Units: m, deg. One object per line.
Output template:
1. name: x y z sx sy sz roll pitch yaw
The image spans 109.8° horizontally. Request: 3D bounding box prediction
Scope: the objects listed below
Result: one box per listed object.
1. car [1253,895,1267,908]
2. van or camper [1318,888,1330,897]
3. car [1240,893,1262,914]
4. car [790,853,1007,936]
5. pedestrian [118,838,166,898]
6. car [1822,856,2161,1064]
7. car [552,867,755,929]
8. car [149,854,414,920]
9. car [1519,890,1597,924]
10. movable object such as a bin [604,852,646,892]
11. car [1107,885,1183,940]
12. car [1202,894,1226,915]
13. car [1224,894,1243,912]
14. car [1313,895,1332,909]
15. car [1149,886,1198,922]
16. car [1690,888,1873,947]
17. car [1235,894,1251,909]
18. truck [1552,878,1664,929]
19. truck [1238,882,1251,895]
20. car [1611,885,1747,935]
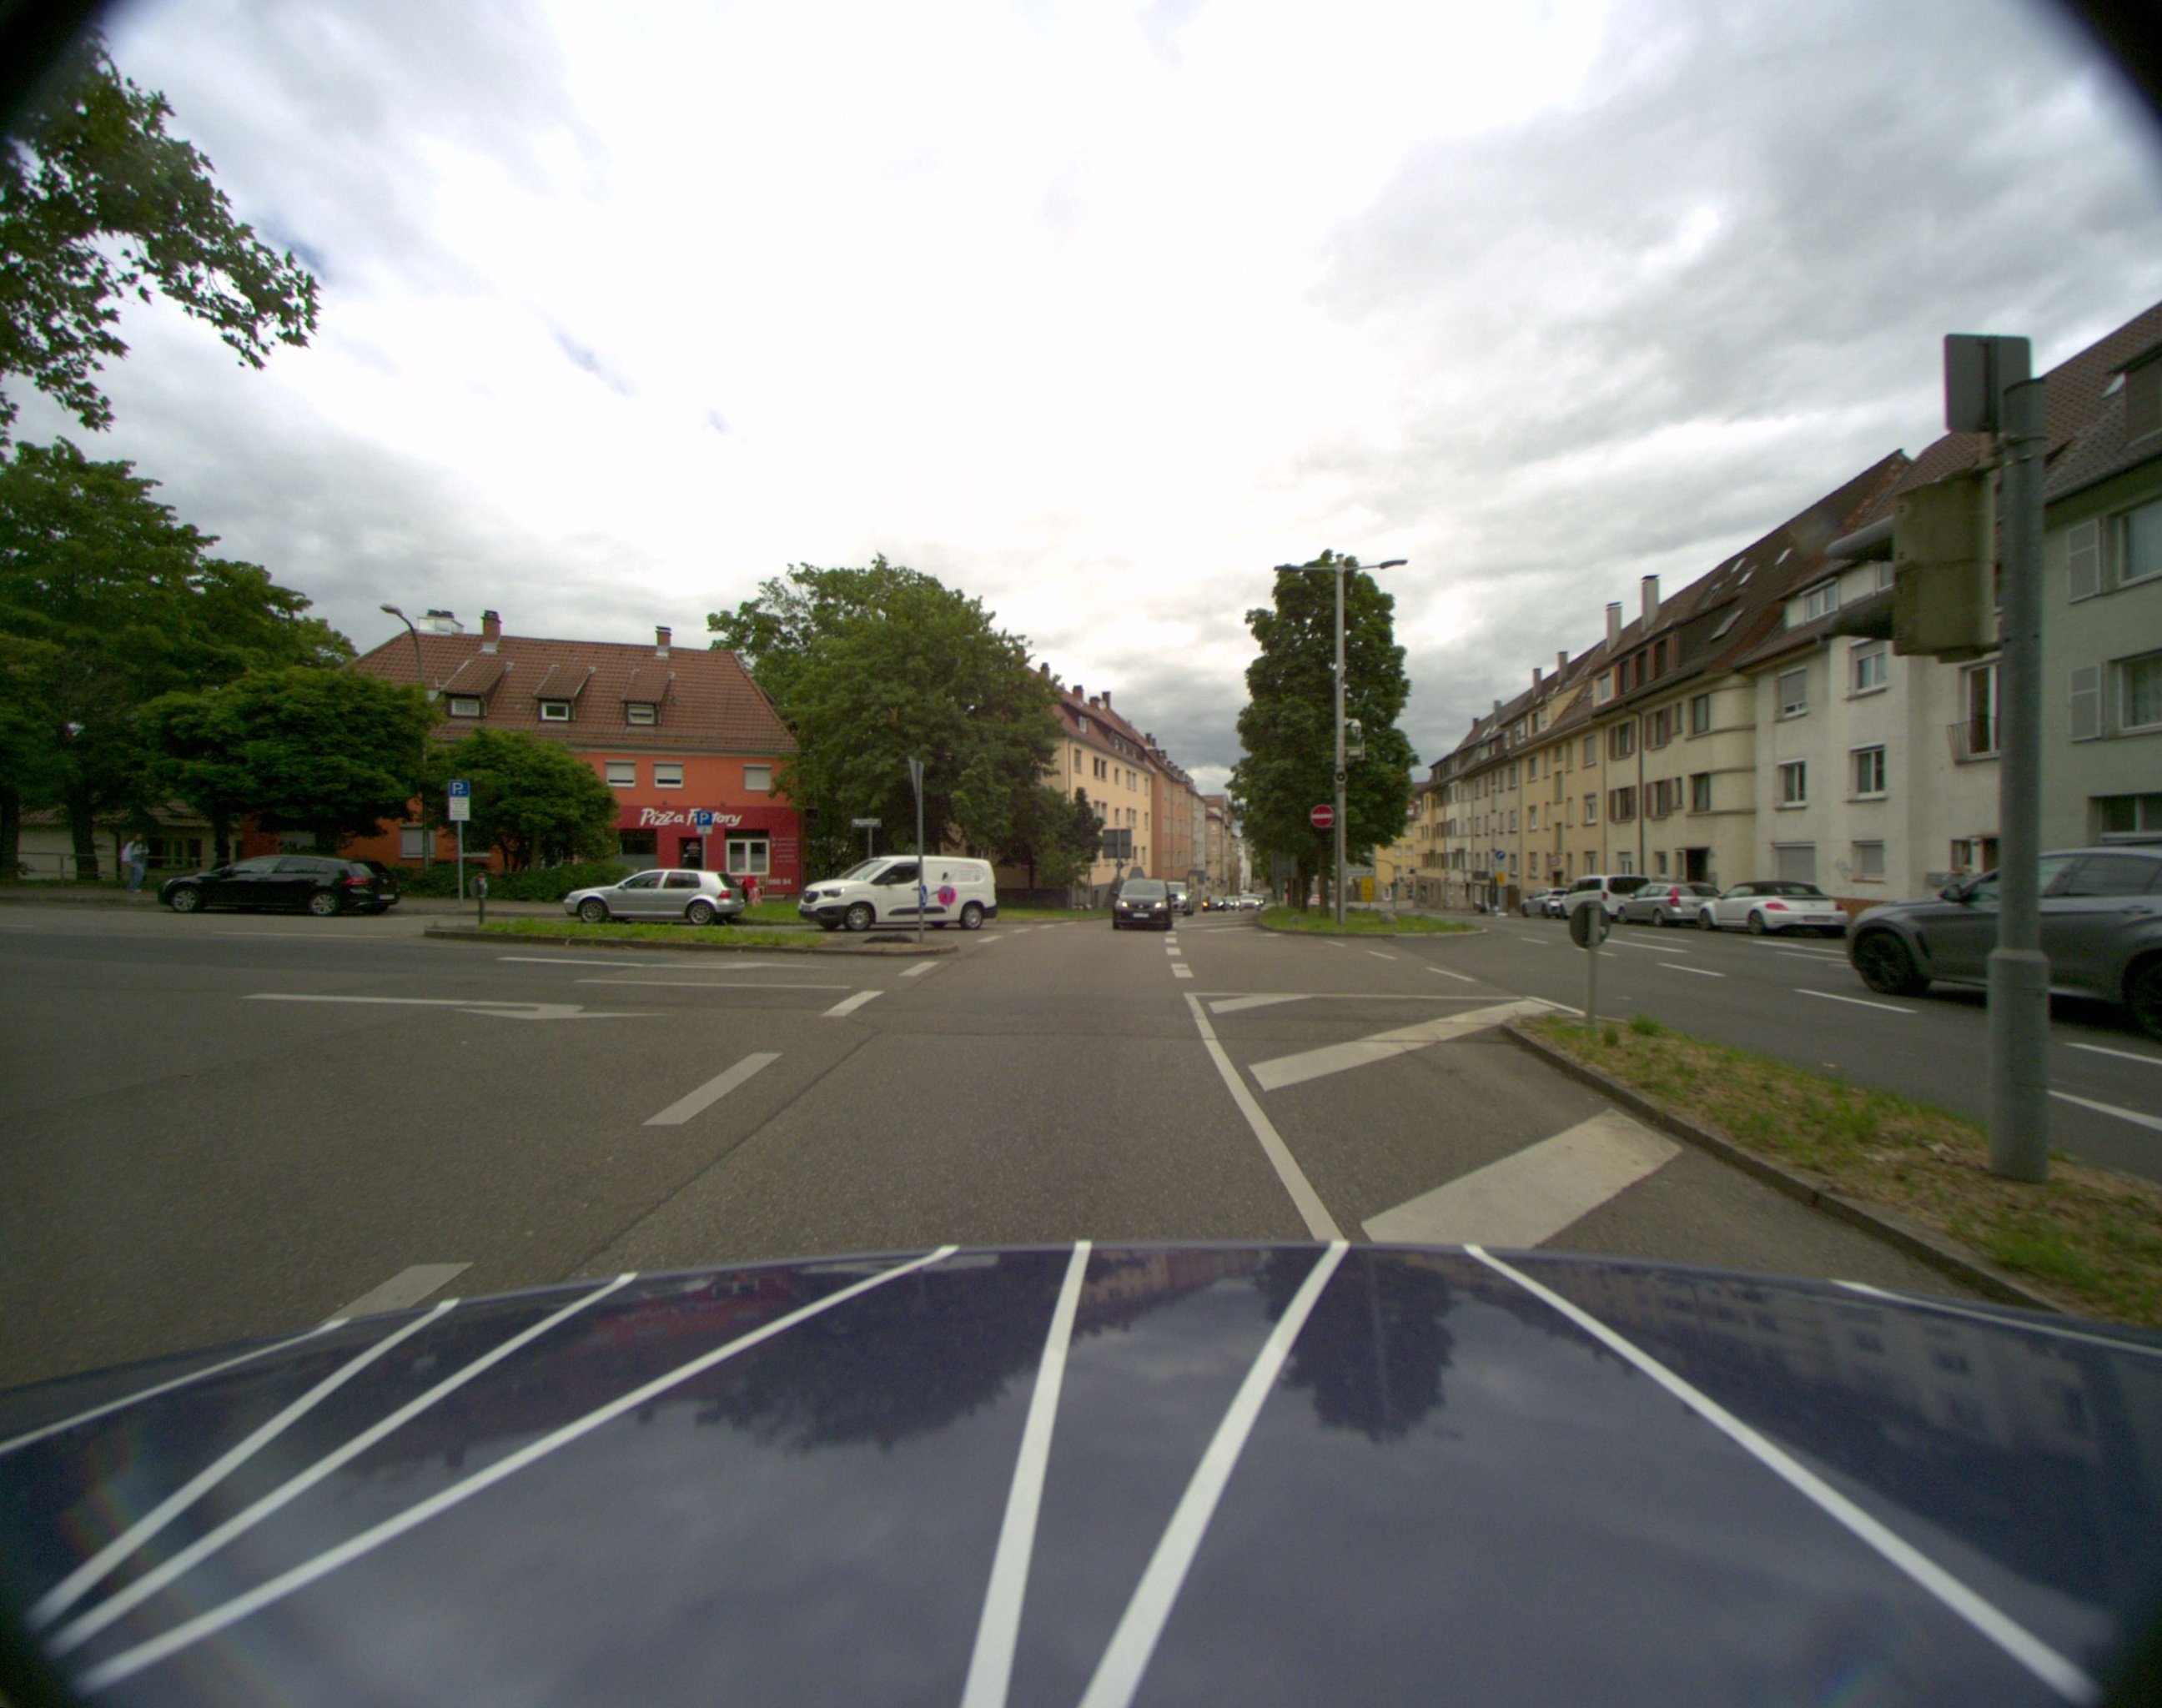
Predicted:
1. car: 24.293 6.389 103.304 1.782 1.583 3.538 2 -1 12
2. van or camper: 48.367 7.770 151.205 1.910 1.750 4.662 -1 -3 15
3. car: 14.371 4.134 64.279 1.782 1.583 3.538 2 -1 12
4. car: -4.298 0.969 18.492 4.855 1.778 1.785 2 -3 -42
5. pedestrian: -24.684 0.367 19.990 0.494 1.536 0.676 2 2 -18
6. car: 9.923 0.871 7.167 1.872 1.688 4.941 0 -1 12
7. car: -10.885 1.139 19.647 4.131 1.419 1.862 2 -3 -9
8. car: -19.146 0.794 18.400 4.132 1.419 1.736 2 -1 -11
9. car: 23.176 2.553 37.133 1.996 1.542 4.164 0 -3 13
10. movable object such as a bin: -17.116 0.675 28.572 1.083 1.442 1.240 2 -1 -20
11. car: 1.941 1.702 22.133 1.602 1.447 3.691 -2 -5 13
12. car: 11.329 4.295 64.735 1.782 1.583 3.538 2 -1 12
13. car: 15.700 5.020 78.246 1.782 1.583 3.538 2 -1 12
14. car: 27.145 5.375 85.538 1.748 1.458 4.593 0 -3 14
15. car: 4.515 2.396 36.471 1.778 1.597 4.170 -3 -4 14
16. car: 19.251 1.693 21.178 1.996 1.465 4.165 0 -3 15
17. car: 19.527 5.732 91.483 1.782 1.583 3.538 2 -1 12
18. truck: 21.706 2.009 31.604 1.996 1.908 5.355 0 -3 13
19. truck: 38.146 7.986 176.821 2.549 2.889 7.791 0 -3 16
20. car: 20.247 1.855 26.006 1.996 1.542 4.389 0 -3 13
